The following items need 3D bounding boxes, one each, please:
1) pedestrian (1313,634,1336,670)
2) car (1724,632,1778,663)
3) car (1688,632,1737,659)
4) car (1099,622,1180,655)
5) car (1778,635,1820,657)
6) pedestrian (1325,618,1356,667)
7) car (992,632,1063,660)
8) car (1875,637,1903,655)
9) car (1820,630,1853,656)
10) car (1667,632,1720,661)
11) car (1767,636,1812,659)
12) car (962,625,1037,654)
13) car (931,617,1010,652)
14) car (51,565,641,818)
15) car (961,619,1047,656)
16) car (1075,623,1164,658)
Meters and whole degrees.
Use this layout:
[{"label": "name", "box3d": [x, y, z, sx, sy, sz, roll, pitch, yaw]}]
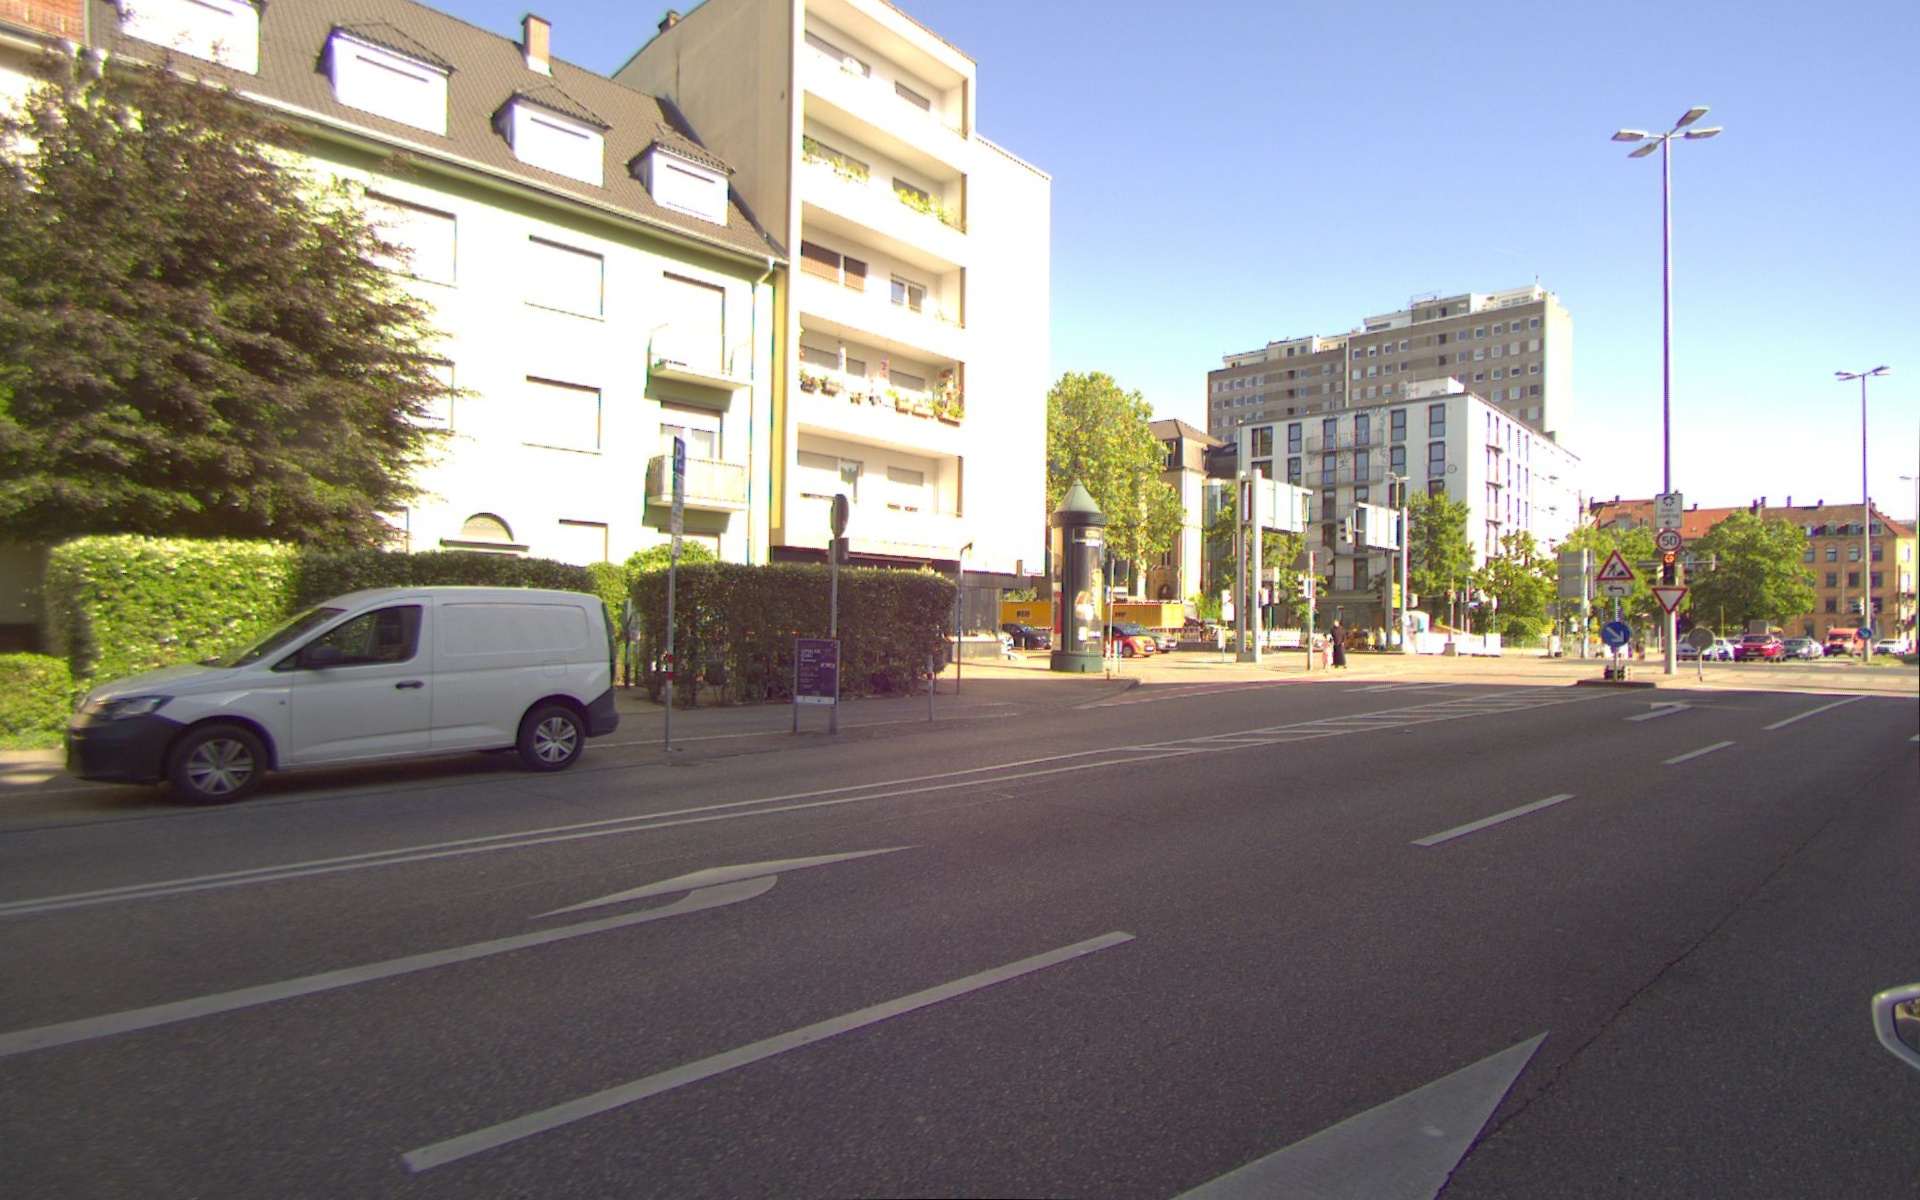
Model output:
[{"label": "pedestrian", "box3d": [12.215, 1.734, 33.668, 0.650, 1.181, 0.677, 0, -1, 15]}, {"label": "car", "box3d": [44.275, 2.624, 56.171, 3.971, 1.638, 1.774, 2, -2, -43]}, {"label": "car", "box3d": [48.300, 2.880, 64.417, 3.972, 1.638, 1.857, 2, -2, -43]}, {"label": "car", "box3d": [8.900, 1.904, 49.983, 3.601, 1.535, 1.834, -2, -2, 44]}, {"label": "car", "box3d": [60.295, 3.294, 72.192, 3.972, 1.467, 1.857, 2, -2, -43]}, {"label": "pedestrian", "box3d": [13.003, 1.448, 34.334, 0.815, 1.671, 0.677, 1, -1, 4]}, {"label": "car", "box3d": [3.707, 2.529, 55.312, 3.601, 1.474, 1.834, -2, -2, 44]}, {"label": "car", "box3d": [93.271, 4.591, 100.811, 3.972, 1.655, 1.793, 2, -2, -43]}, {"label": "car", "box3d": [77.548, 3.793, 88.883, 3.972, 2.163, 1.793, 2, -2, -43]}, {"label": "car", "box3d": [43.615, 2.722, 59.697, 3.972, 1.638, 1.857, 2, -2, -43]}, {"label": "car", "box3d": [55.905, 3.169, 67.696, 3.972, 1.467, 1.857, 2, -2, -43]}, {"label": "car", "box3d": [2.008, 2.017, 51.664, 3.601, 1.474, 1.834, -2, -2, 44]}, {"label": "car", "box3d": [0.462, 1.608, 47.030, 1.604, 1.535, 3.602, 2, -2, -45]}, {"label": "car", "box3d": [-5.605, 0.726, 9.636, 1.800, 1.858, 4.533, 0, -1, 45]}, {"label": "car", "box3d": [1.880, 1.624, 43.576, 1.604, 1.535, 3.602, 2, -2, -45]}, {"label": "car", "box3d": [7.200, 1.807, 45.414, 3.601, 1.535, 1.834, -2, -2, 44]}]
